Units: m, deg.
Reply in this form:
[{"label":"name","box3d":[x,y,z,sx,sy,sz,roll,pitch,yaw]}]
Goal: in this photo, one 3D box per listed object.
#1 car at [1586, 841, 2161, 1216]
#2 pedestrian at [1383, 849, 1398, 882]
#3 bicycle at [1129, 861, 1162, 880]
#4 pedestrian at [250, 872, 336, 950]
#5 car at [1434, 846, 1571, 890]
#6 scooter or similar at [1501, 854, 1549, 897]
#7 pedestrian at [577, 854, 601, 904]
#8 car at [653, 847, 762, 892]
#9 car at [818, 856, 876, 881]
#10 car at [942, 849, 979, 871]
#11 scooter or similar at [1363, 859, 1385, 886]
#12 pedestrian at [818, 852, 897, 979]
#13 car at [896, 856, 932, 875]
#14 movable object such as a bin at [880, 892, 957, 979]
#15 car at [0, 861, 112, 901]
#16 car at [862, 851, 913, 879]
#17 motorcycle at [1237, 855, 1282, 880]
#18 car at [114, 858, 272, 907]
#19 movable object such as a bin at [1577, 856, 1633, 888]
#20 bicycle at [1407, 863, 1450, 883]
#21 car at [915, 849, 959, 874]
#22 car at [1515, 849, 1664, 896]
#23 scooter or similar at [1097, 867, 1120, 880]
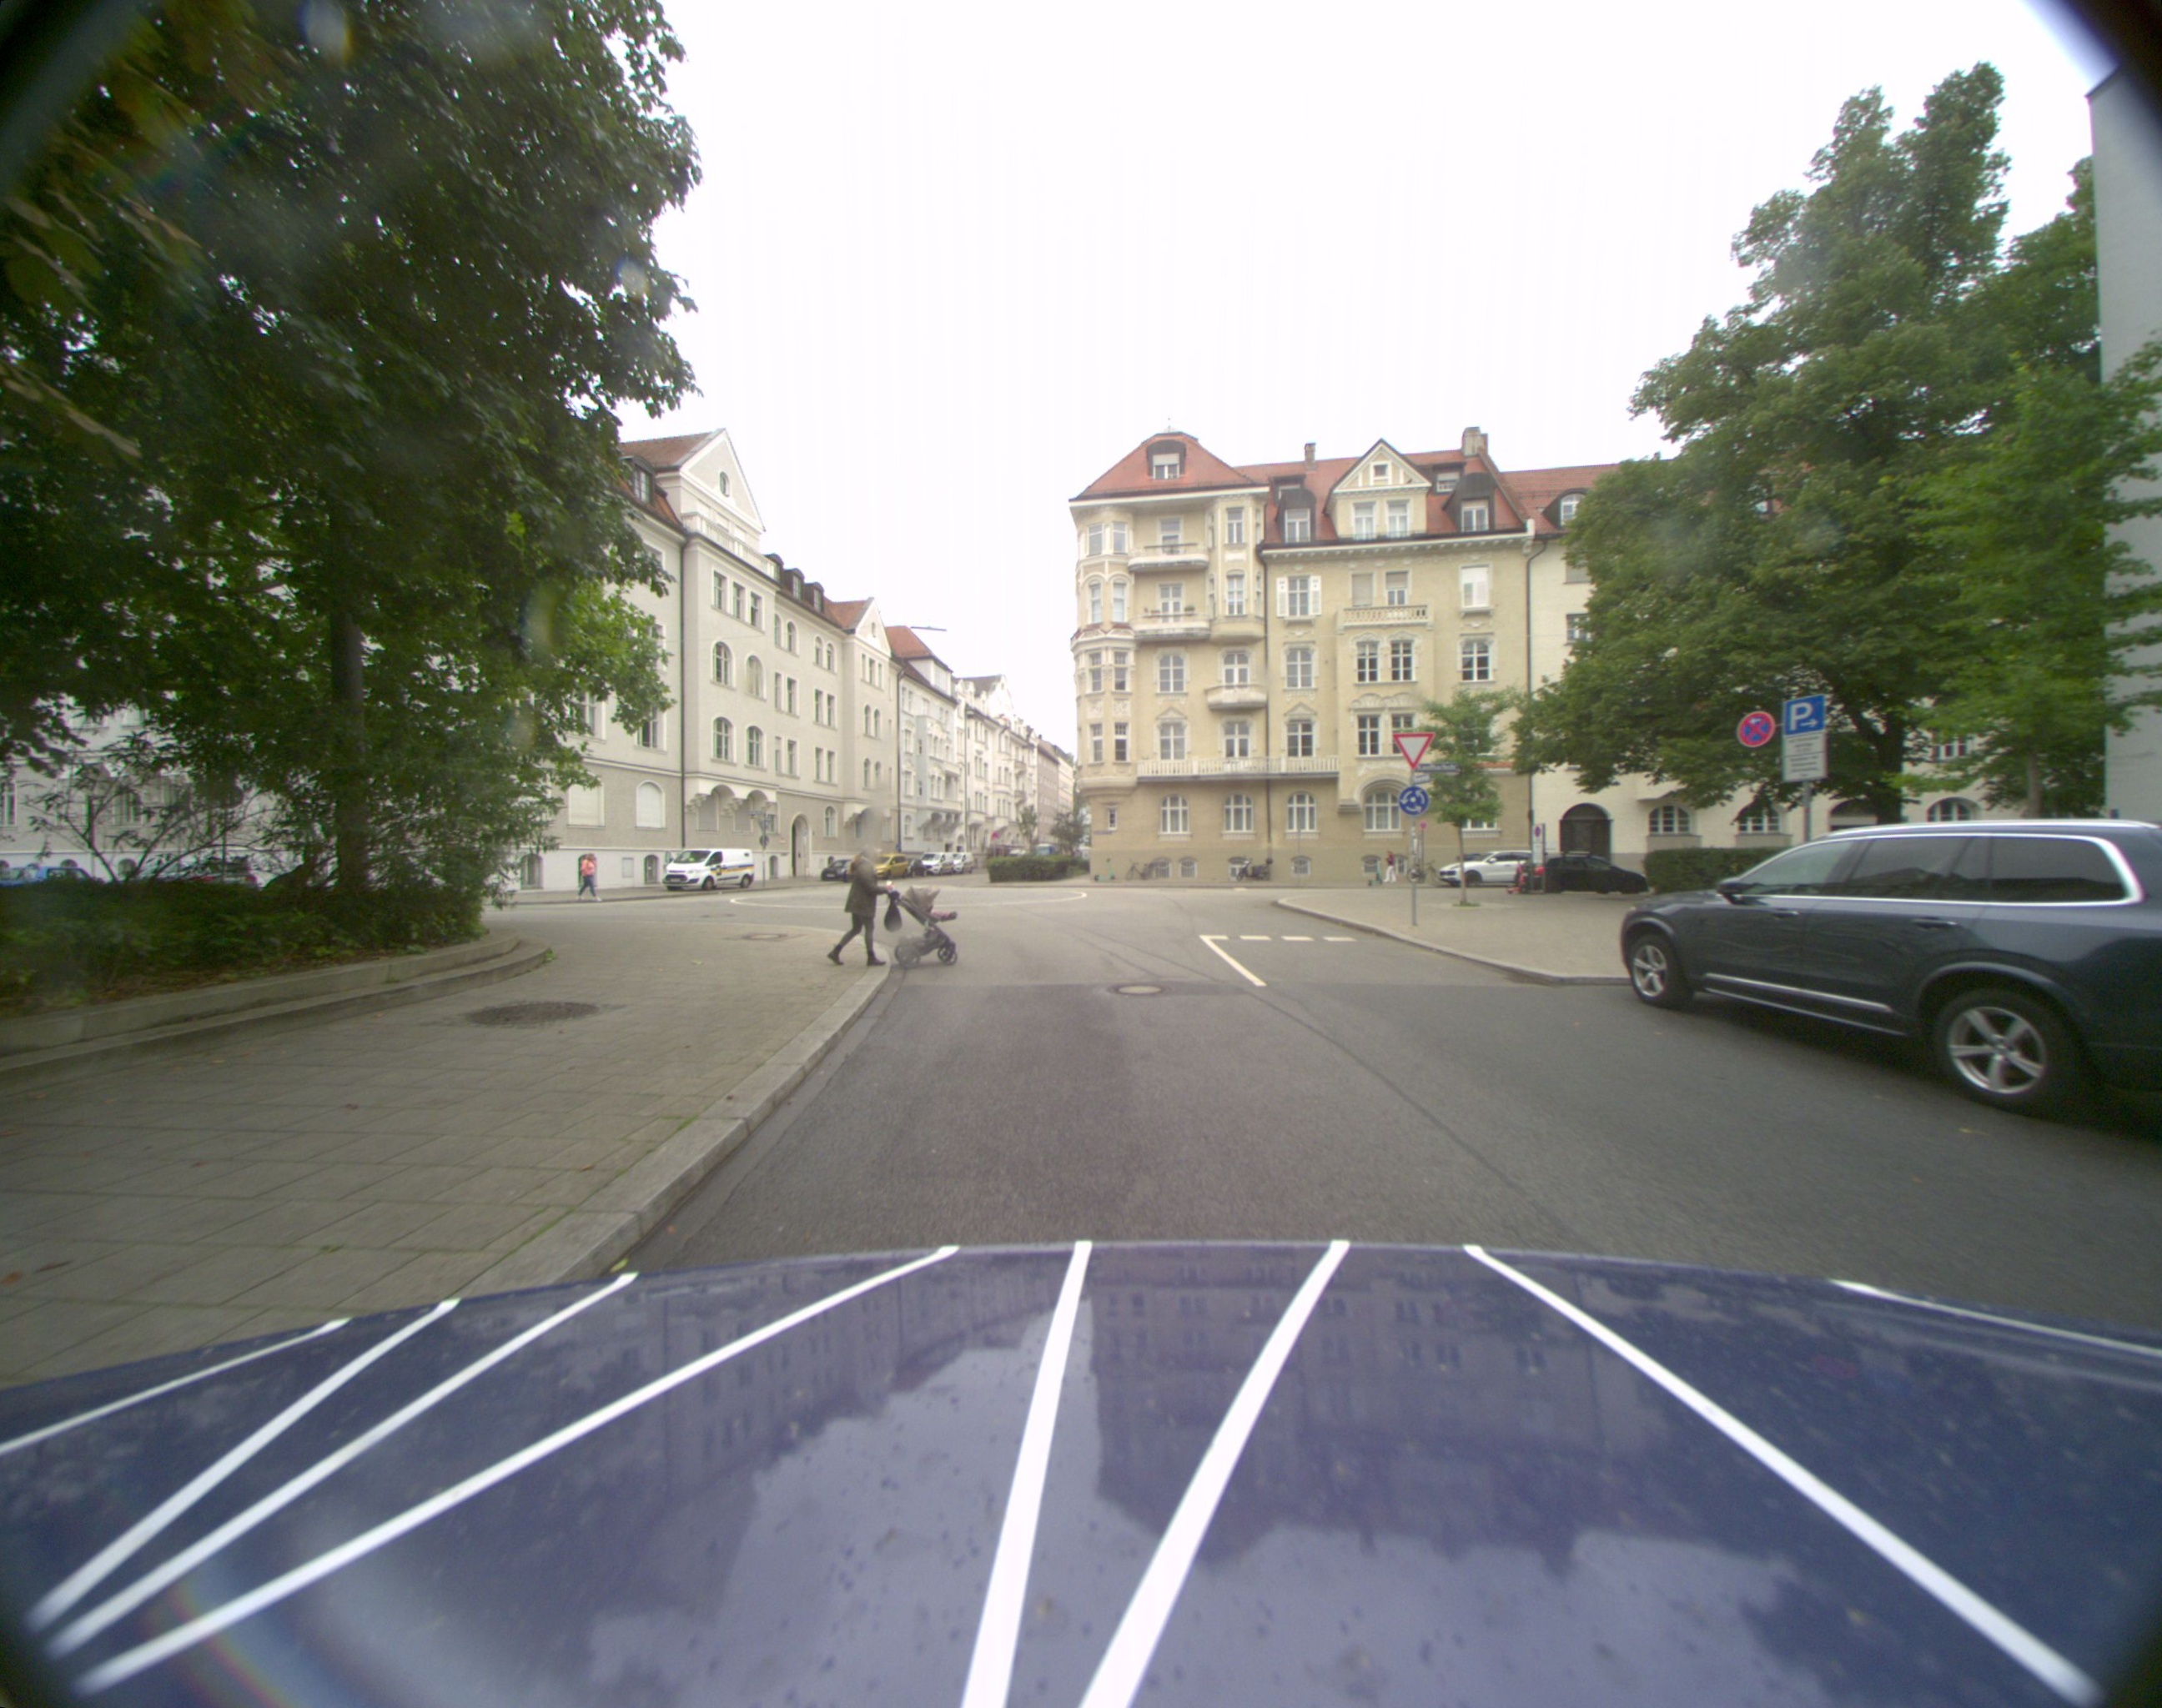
[{"label":"car","box3d":[6.313,0.805,5.782,1.884,1.758,5.060,0,1,5]},{"label":"pedestrian","box3d":[15.834,0.599,38.868,0.606,1.655,0.463,0,2,14]},{"label":"bicycle","box3d":[3.493,0.887,41.325,1.783,0.986,0.543,0,2,5]},{"label":"pedestrian","box3d":[-12.440,0.880,12.008,0.577,1.170,0.746,0,0,11]},{"label":"car","box3d":[19.180,0.607,34.819,5.023,1.855,2.167,0,2,9]},{"label":"scooter or similar","box3d":[14.856,0.713,25.451,0.804,1.379,1.103,-1,-1,-31]},{"label":"pedestrian","box3d":[-17.785,0.893,27.461,0.404,1.758,0.571,0,1,19]},{"label":"car","box3d":[-17.434,0.668,35.778,1.948,1.923,4.978,0,0,11]},{"label":"car","box3d":[-14.815,0.911,48.397,1.948,1.412,3.822,0,1,11]},{"label":"car","box3d":[-11.210,0.542,70.931,2.051,1.928,4.578,0,1,10]},{"label":"scooter or similar","box3d":[13.858,0.876,35.892,1.281,1.223,0.408,-2,2,-42]},{"label":"pedestrian","box3d":[-2.962,0.801,10.134,0.863,1.610,0.593,2,1,-6]},{"label":"car","box3d":[-12.892,0.894,58.843,1.440,1.351,3.360,0,1,11]},{"label":"movable object such as a bin","box3d":[-2.187,1.084,10.317,0.900,1.077,0.777,2,1,-6]},{"label":"car","box3d":[-38.010,0.963,27.823,3.292,1.325,1.702,0,2,10]},{"label":"car","box3d":[-13.633,0.717,53.676,1.793,1.809,4.307,0,1,11]},{"label":"motorcycle","box3d":[9.443,0.706,40.176,2.243,1.319,0.824,0,2,6]},{"label":"car","box3d":[-30.660,0.949,26.277,3.993,1.574,1.739,0,2,11]},{"label":"movable object such as a bin","box3d":[23.465,0.791,34.061,1.871,1.365,1.568,0,2,27]},{"label":"bicycle","box3d":[16.942,0.941,37.061,1.808,0.952,0.468,0,2,11]},{"label":"car","box3d":[-12.168,0.601,64.698,2.155,1.902,4.775,0,1,9]},{"label":"car","box3d":[17.718,0.623,26.617,4.095,1.580,1.592,0,0,4]},{"label":"scooter or similar","box3d":[1.503,1.039,41.311,1.235,0.683,0.316,-1,2,-19]}]
